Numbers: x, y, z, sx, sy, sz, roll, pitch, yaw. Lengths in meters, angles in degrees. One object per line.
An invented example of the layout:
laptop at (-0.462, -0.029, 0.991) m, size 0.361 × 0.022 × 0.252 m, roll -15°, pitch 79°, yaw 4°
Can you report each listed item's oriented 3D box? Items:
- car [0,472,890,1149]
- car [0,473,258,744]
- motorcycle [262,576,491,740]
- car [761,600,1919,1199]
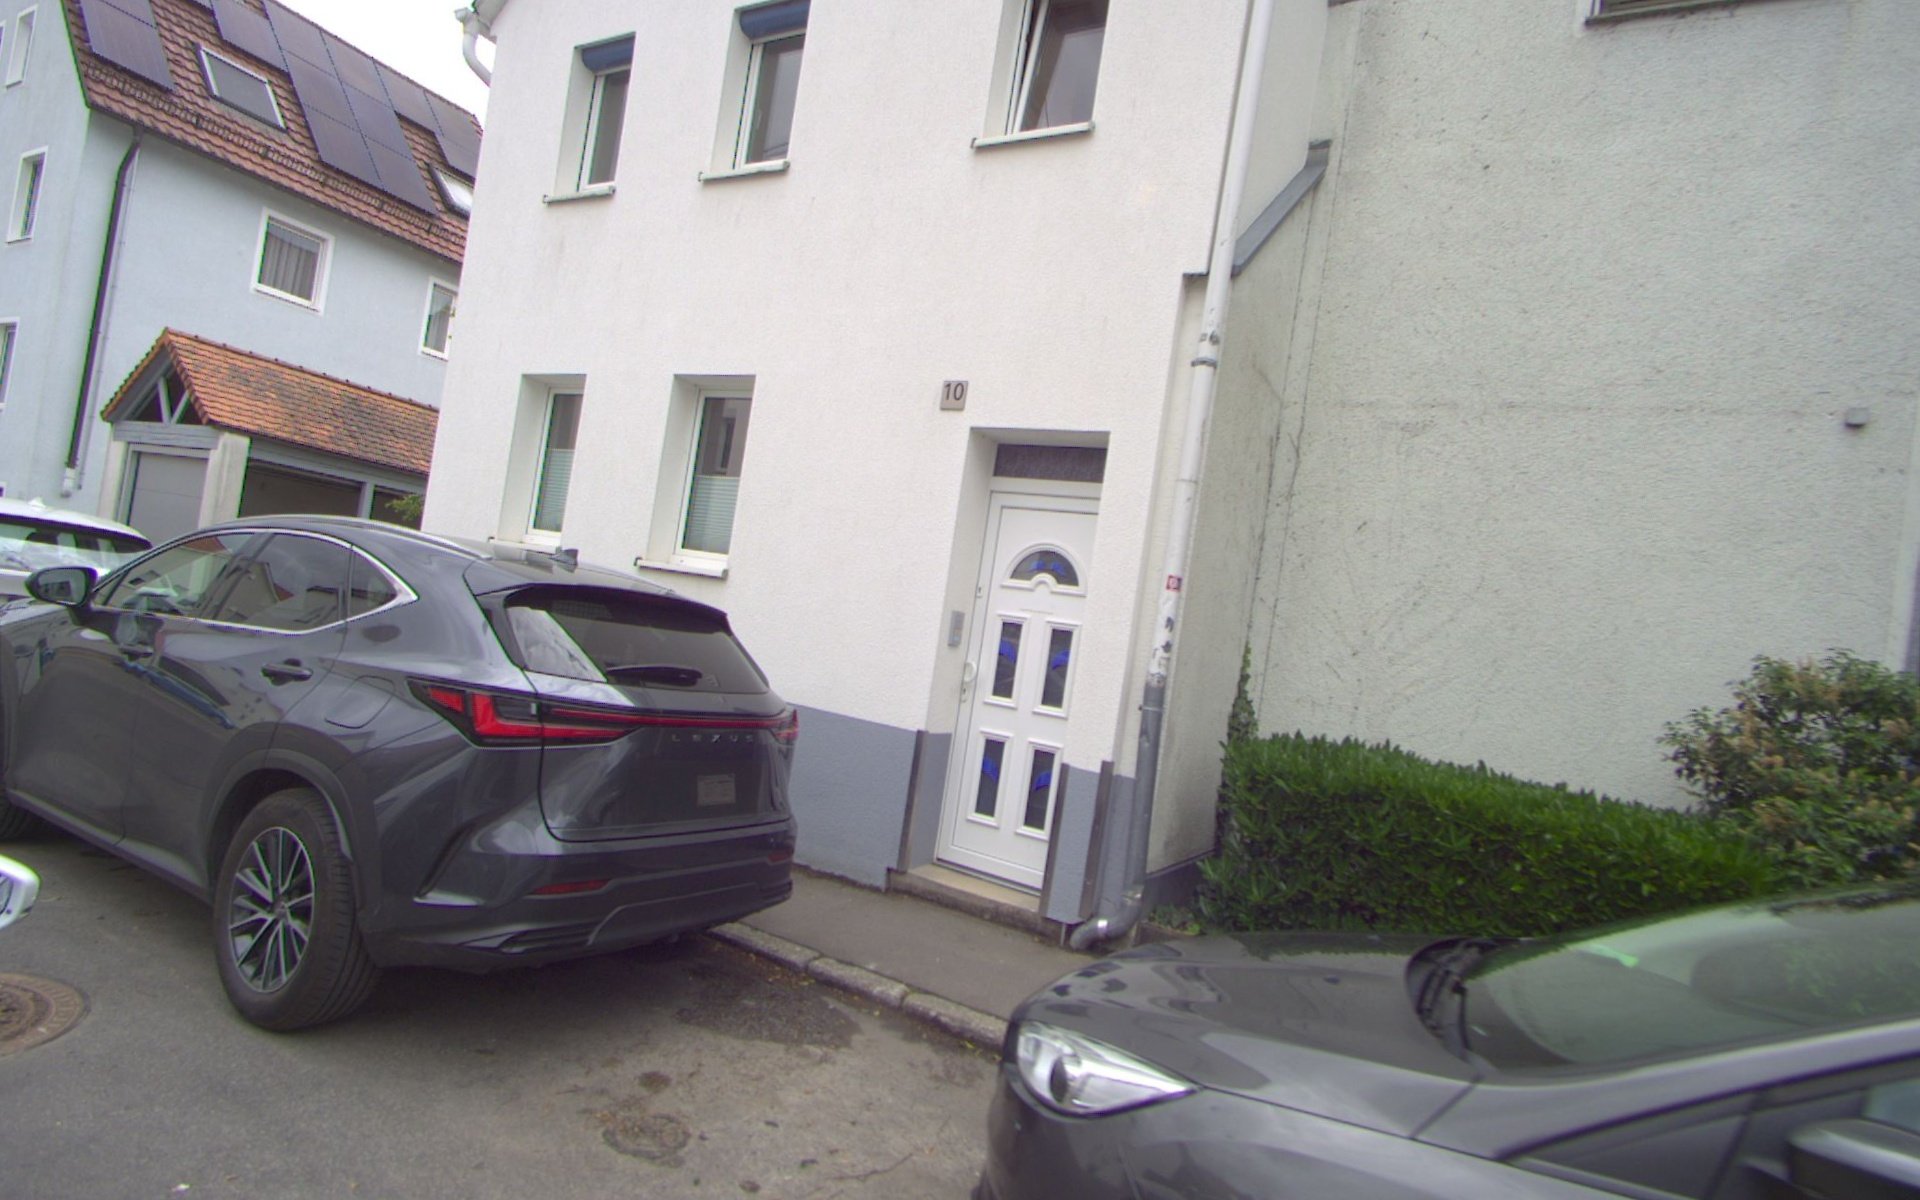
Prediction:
car at (-2.922, 0.469, 4.635) m, size 4.818 × 1.651 × 1.868 m, roll 6°, pitch -3°, yaw 30°
car at (-7.732, -0.141, 7.696) m, size 4.798 × 1.633 × 1.999 m, roll 7°, pitch -4°, yaw 32°
motorcycle at (-5.276, 0.492, 9.043) m, size 2.135 × 1.186 × 0.819 m, roll 6°, pitch -1°, yaw 34°
car at (2.155, 1.108, 1.625) m, size 4.740 × 1.524 × 1.953 m, roll 7°, pitch -3°, yaw 32°
